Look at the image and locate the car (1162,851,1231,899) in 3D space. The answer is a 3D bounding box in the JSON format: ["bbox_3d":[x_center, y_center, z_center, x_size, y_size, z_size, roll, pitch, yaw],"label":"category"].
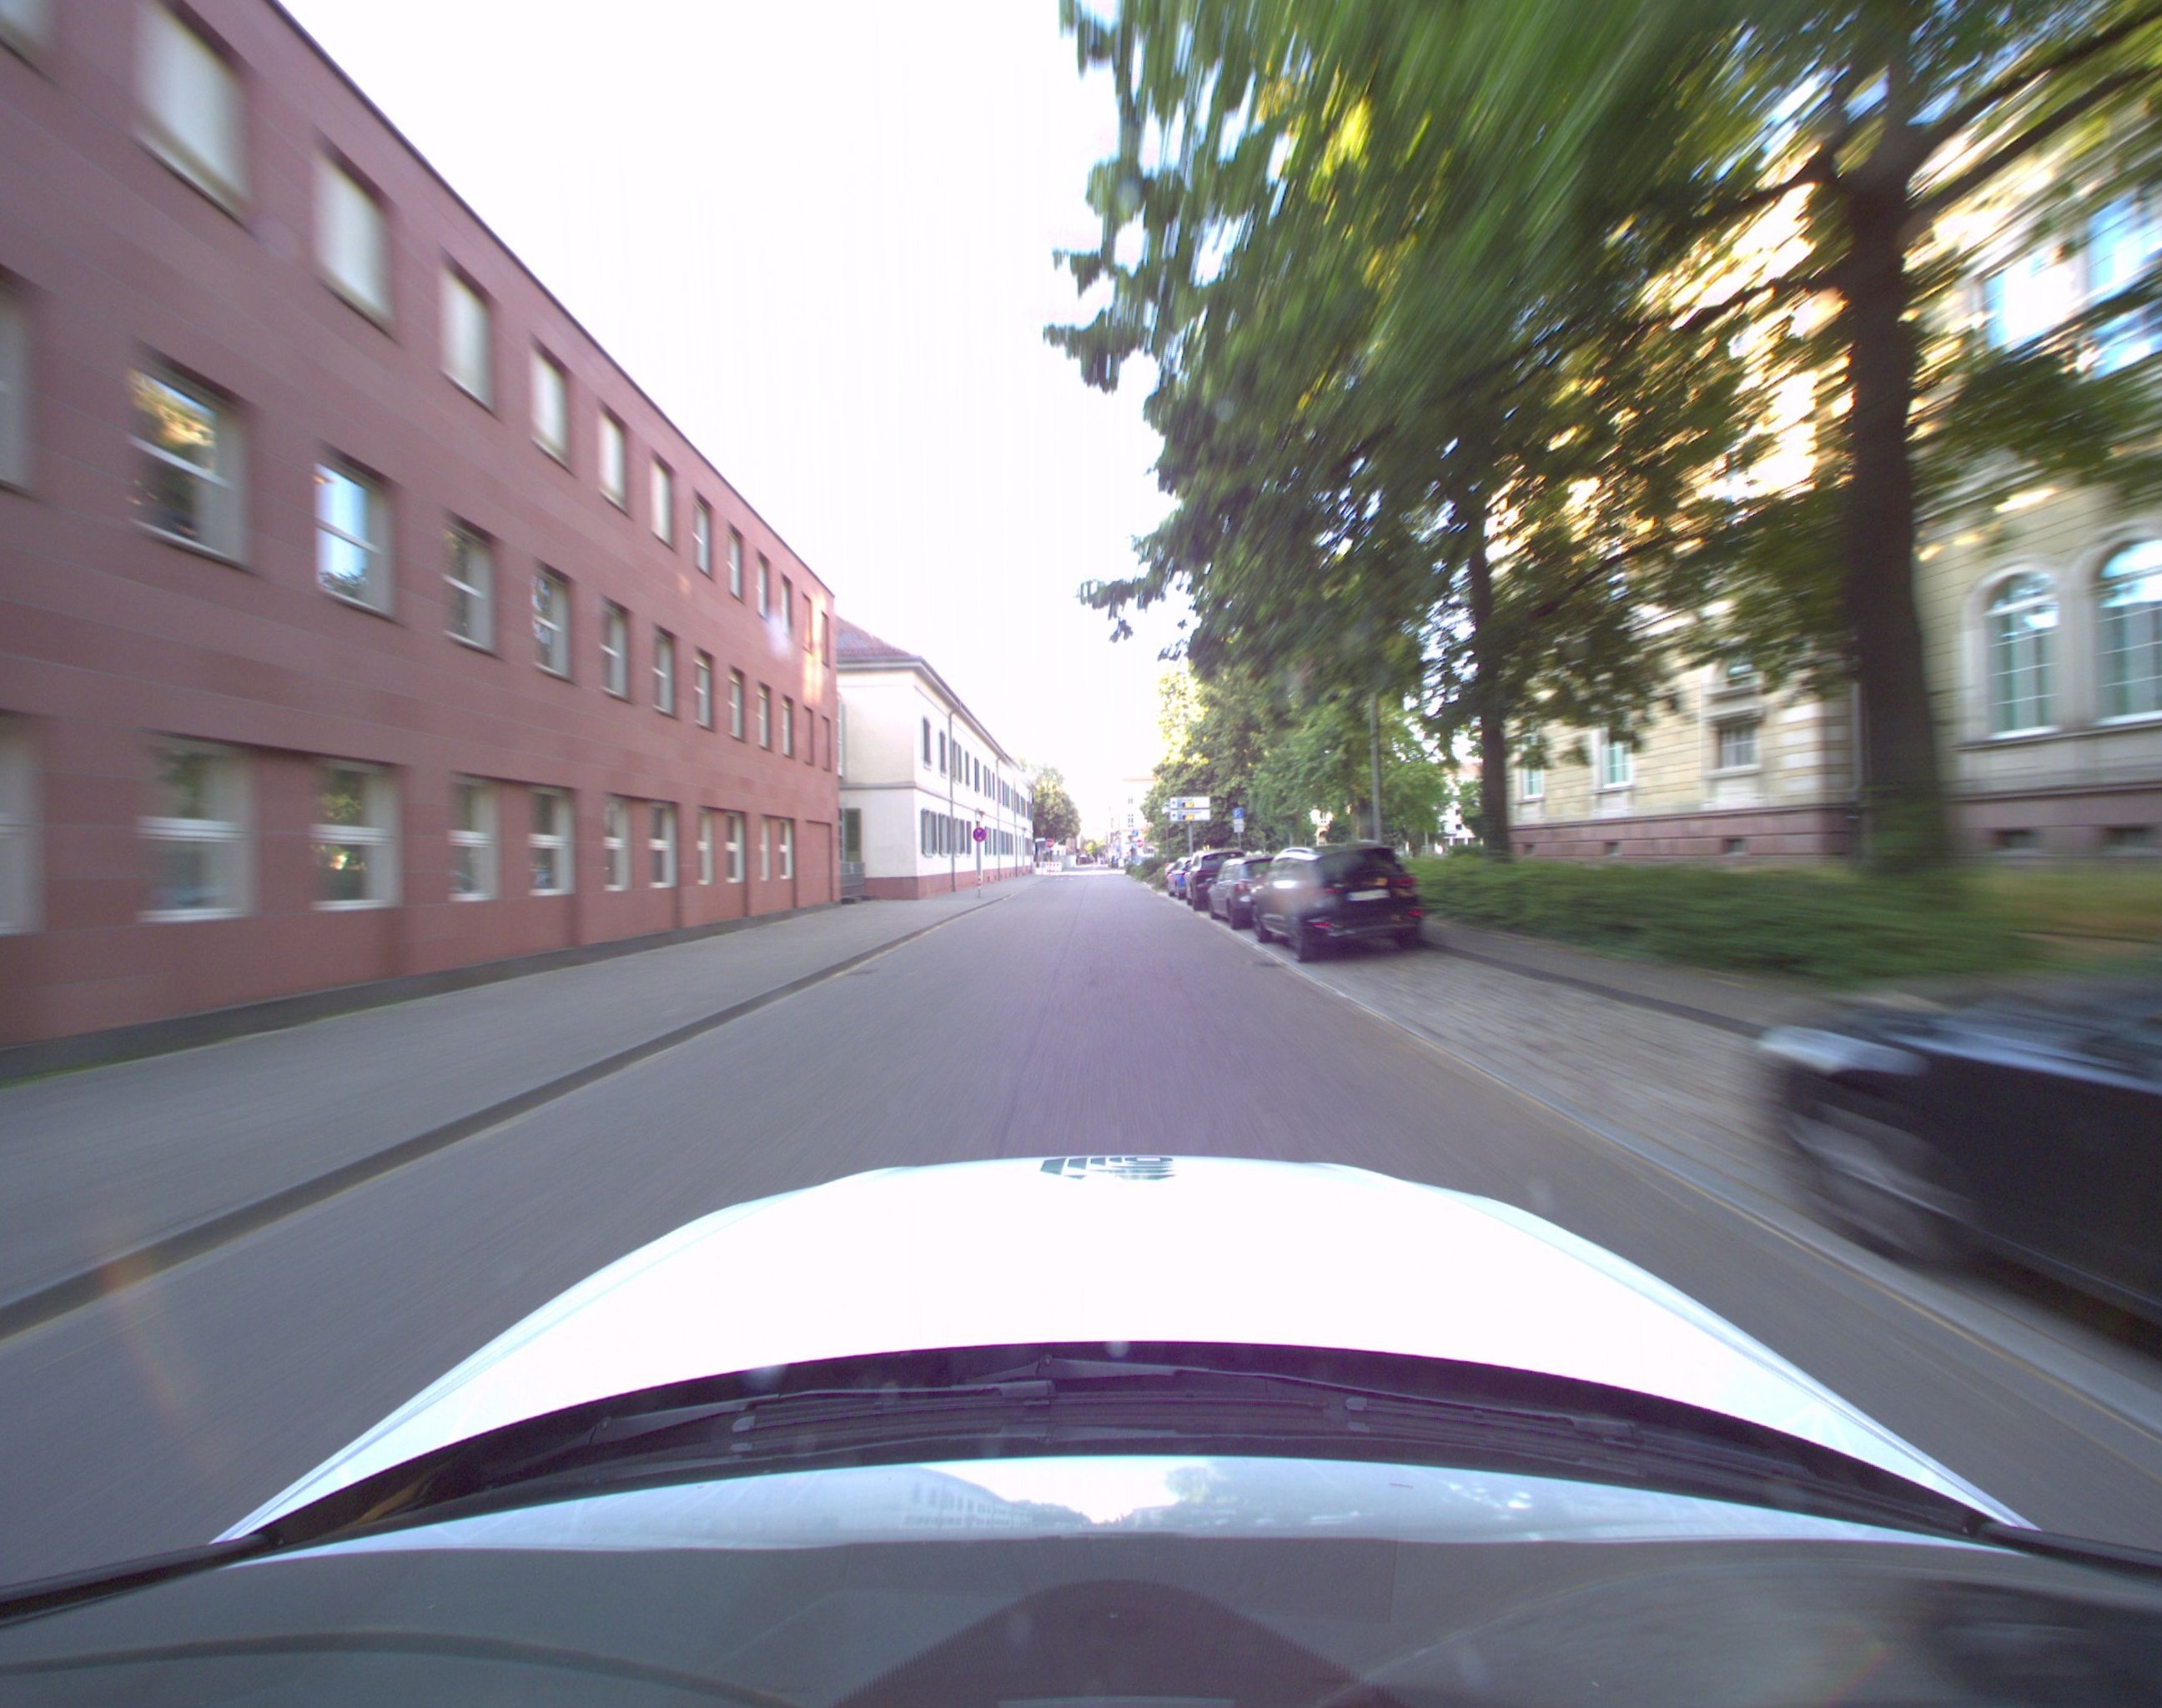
[{"bbox_3d":[4.152,0.733,30.011,1.719,1.488,4.609,-5,-1,-1],"label":"car"}]

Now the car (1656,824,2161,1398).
[{"bbox_3d":[3.667,0.632,1.692,1.729,1.506,4.522,-2,-1,1],"label":"car"}]

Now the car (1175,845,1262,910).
[{"bbox_3d":[3.901,0.669,23.832,1.718,1.651,4.713,-2,-1,1],"label":"car"}]

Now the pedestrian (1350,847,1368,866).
[{"bbox_3d":[20.483,0.170,60.030,0.918,1.347,0.880,-2,-1,-15],"label":"pedestrian"}]

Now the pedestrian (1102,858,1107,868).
[{"bbox_3d":[3.948,1.530,137.096,0.655,1.617,0.745,-2,-1,1],"label":"pedestrian"}]

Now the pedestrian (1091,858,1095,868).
[{"bbox_3d":[2.021,1.519,138.865,0.655,1.760,0.745,-2,-1,1],"label":"pedestrian"}]

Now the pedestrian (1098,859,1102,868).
[{"bbox_3d":[3.216,1.592,137.023,0.655,1.617,0.745,-2,-1,1],"label":"pedestrian"}]

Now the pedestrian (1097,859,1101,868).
[{"bbox_3d":[3.139,1.603,139.000,0.655,1.636,0.745,-2,-1,1],"label":"pedestrian"}]

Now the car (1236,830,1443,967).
[{"bbox_3d":[3.863,0.585,13.048,1.801,1.651,4.419,-6,0,0],"label":"car"}]

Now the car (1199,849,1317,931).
[{"bbox_3d":[3.817,0.752,18.250,1.718,1.538,4.189,-2,-1,0],"label":"car"}]
